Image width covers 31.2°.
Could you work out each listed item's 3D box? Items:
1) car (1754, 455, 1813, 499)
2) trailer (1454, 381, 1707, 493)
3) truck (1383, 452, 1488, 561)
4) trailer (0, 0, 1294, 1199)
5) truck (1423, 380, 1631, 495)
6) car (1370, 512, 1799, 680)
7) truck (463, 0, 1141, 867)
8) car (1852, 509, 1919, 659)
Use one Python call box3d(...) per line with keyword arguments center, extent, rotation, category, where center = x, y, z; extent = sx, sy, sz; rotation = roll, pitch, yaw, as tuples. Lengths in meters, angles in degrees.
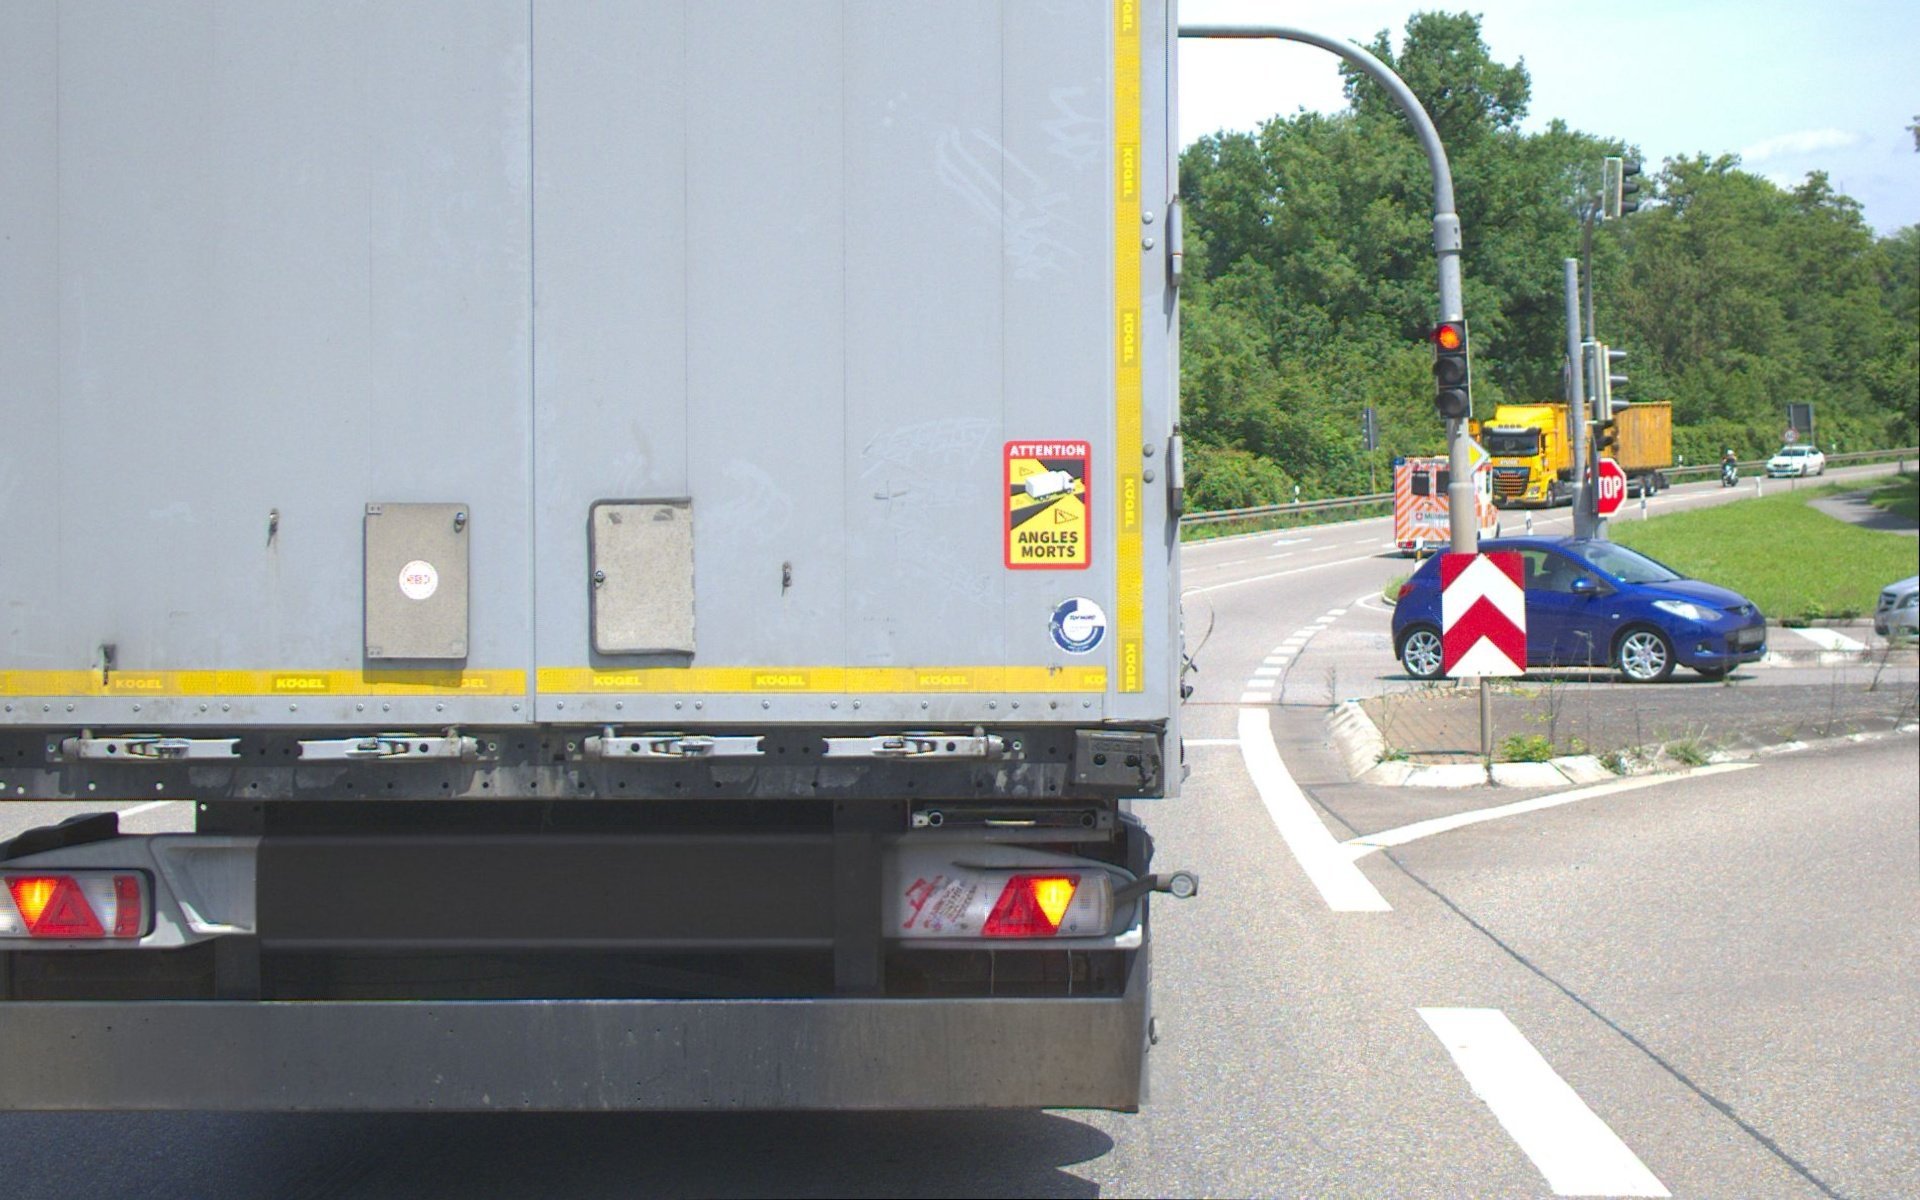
box3d(center=(40.376, -6.036, 168.448), extent=(1.996, 2.006, 3.995), rotation=(0, 3, 25), category="car")
box3d(center=(26.511, -6.773, 145.148), extent=(5.018, 4.347, 20.810), rotation=(0, 2, 26), category="trailer")
box3d(center=(13.057, -2.506, 94.147), extent=(2.495, 2.718, 6.027), rotation=(0, -1, 11), category="truck")
box3d(center=(-0.781, -0.769, 12.625), extent=(3.052, 4.020, 12.559), rotation=(0, 1, 1), category="trailer")
box3d(center=(22.817, -6.442, 137.533), extent=(5.018, 4.347, 11.749), rotation=(0, 2, 26), category="truck")
box3d(center=(6.293, -0.013, 34.822), extent=(3.854, 1.607, 1.877), rotation=(0, -1, 41), category="car")
box3d(center=(-0.638, -0.863, 18.881), extent=(3.038, 4.020, 6.629), rotation=(0, 1, 1), category="truck")
box3d(center=(12.840, -0.161, 40.126), extent=(4.428, 1.712, 1.999), rotation=(0, -1, 5), category="car")
